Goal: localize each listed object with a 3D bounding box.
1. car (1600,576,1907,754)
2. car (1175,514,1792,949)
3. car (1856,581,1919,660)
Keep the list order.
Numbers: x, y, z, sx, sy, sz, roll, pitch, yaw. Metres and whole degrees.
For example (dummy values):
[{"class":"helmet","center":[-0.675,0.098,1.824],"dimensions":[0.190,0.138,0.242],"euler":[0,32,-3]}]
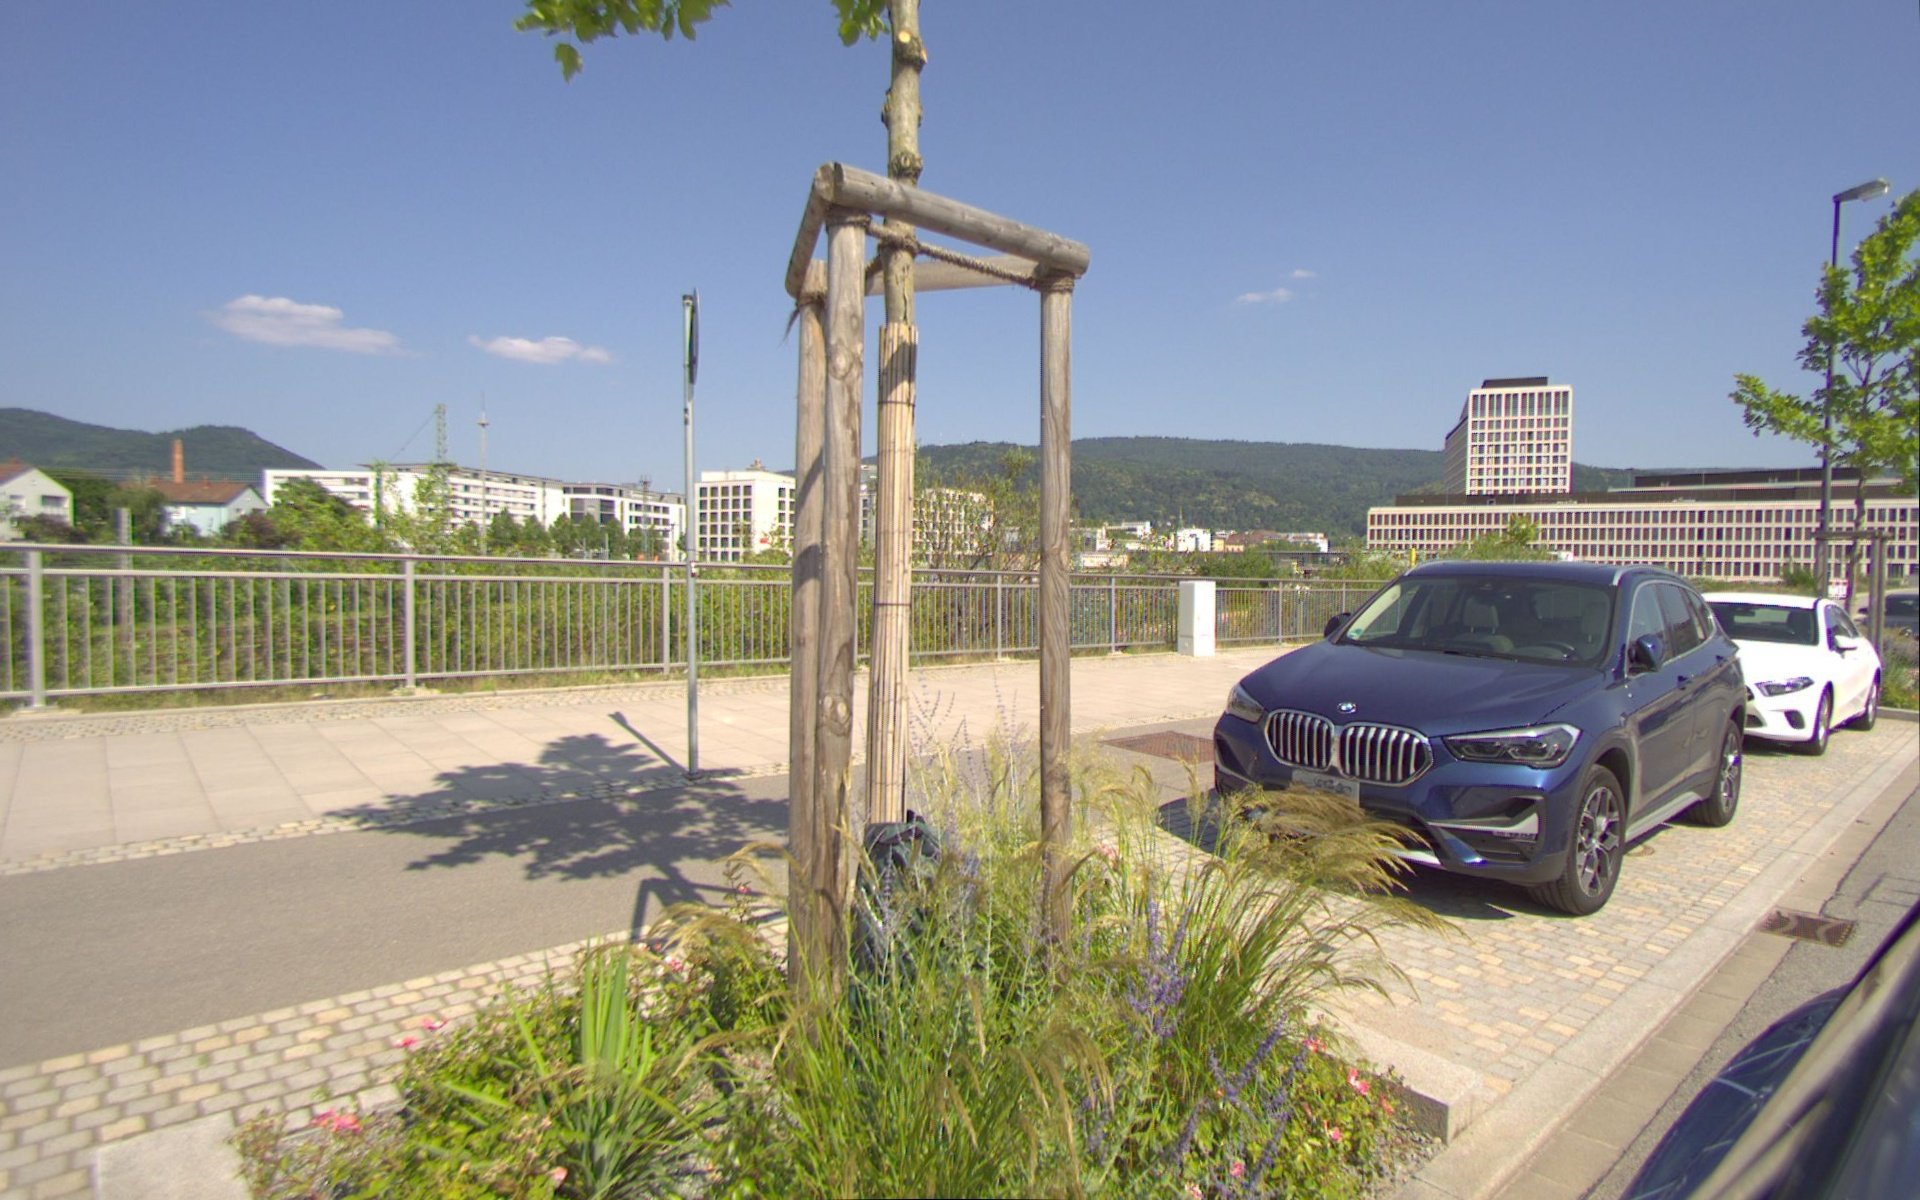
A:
[{"class":"car","center":[8.388,0.502,10.562],"dimensions":[4.197,1.390,1.710],"euler":[-1,5,-41]},{"class":"car","center":[3.314,0.433,6.011],"dimensions":[4.197,1.703,1.807],"euler":[-1,4,-41]},{"class":"car","center":[19.709,0.391,20.494],"dimensions":[3.849,1.449,1.808],"euler":[-1,5,-41]}]
